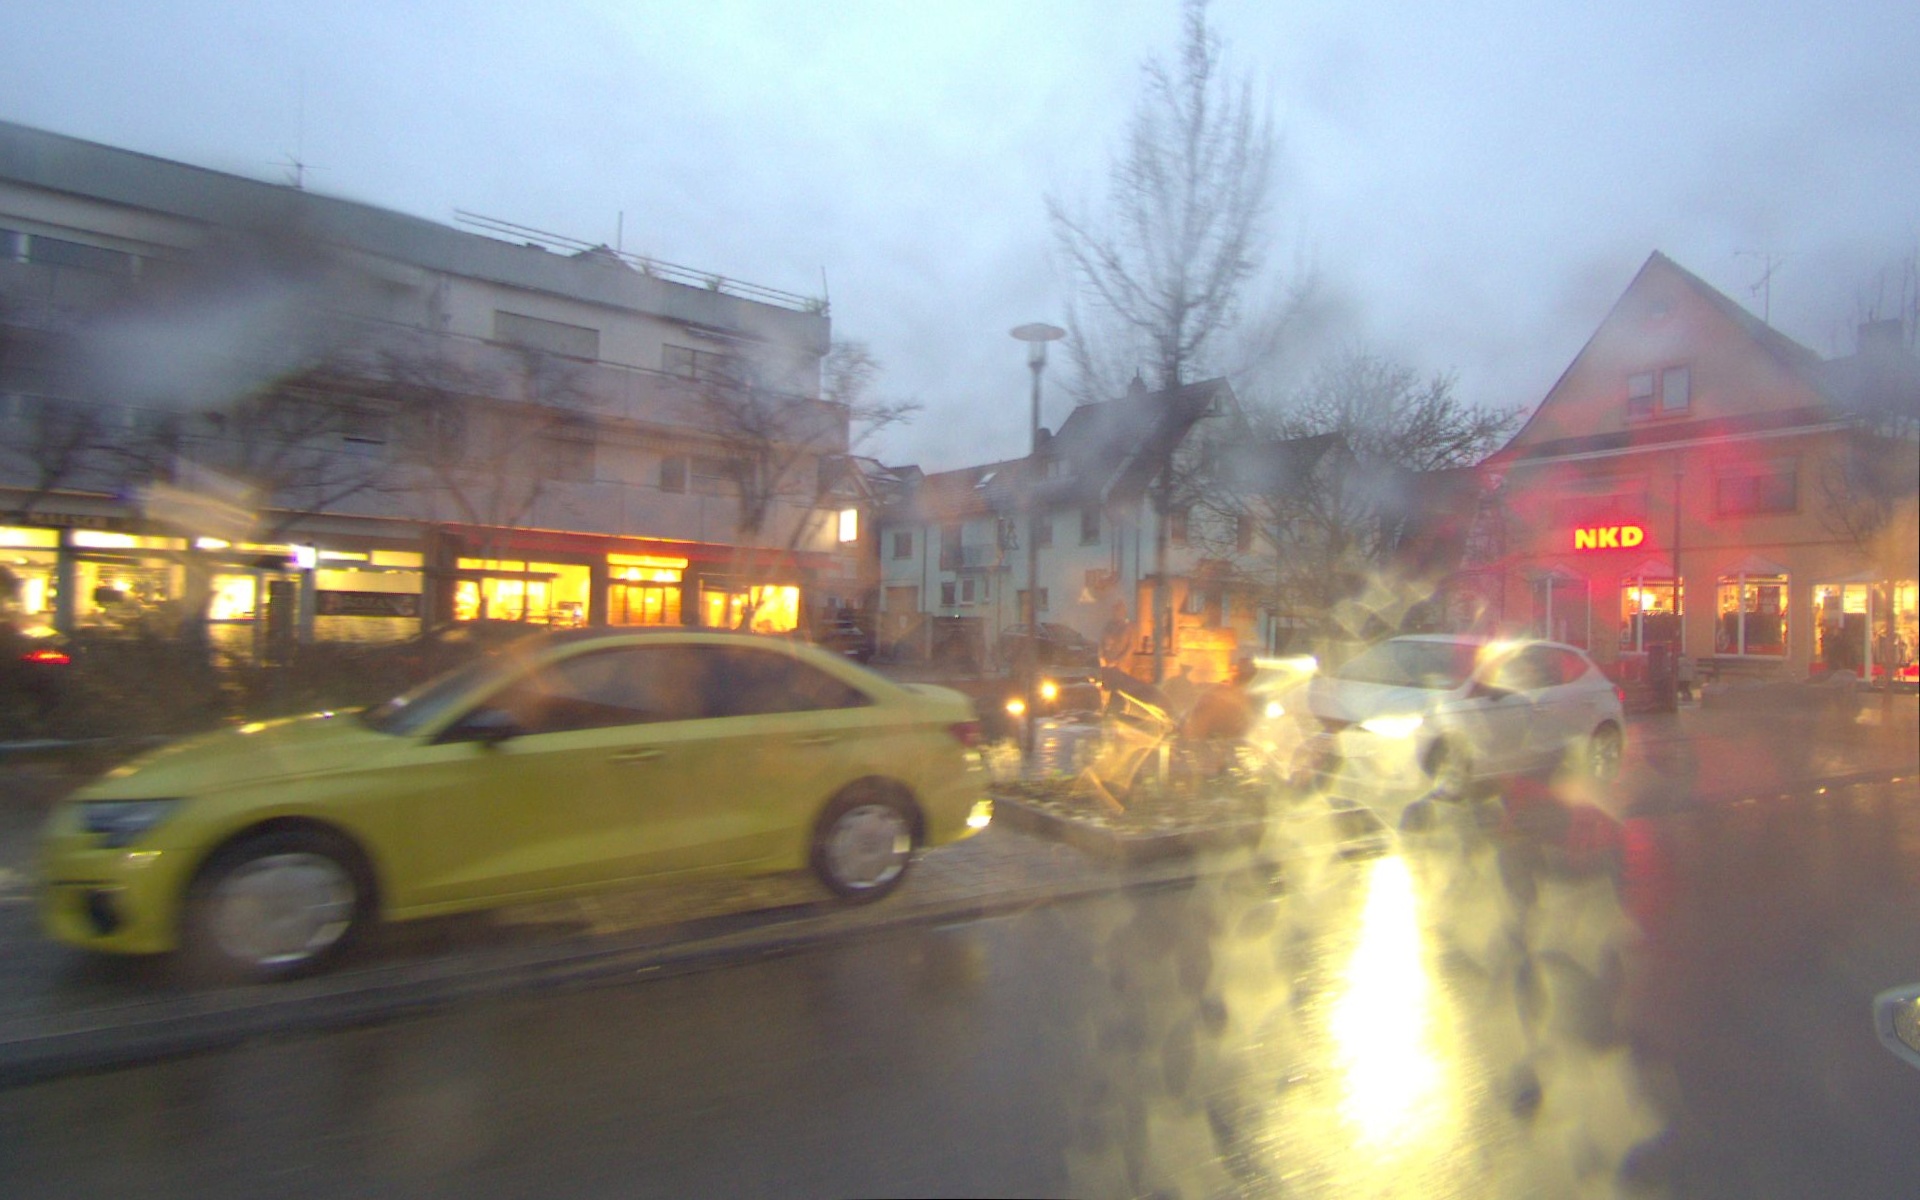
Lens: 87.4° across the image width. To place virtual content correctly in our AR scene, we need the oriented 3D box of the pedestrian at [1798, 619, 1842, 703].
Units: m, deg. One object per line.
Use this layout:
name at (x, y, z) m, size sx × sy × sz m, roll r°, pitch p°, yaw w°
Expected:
pedestrian at (18.651, 1.311, 21.791) m, size 0.678 × 1.765 × 0.583 m, roll 2°, pitch -1°, yaw -37°

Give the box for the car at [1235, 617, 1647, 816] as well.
car at (4.736, 1.007, 9.773) m, size 3.953 × 1.536 × 1.661 m, roll 2°, pitch 0°, yaw -30°

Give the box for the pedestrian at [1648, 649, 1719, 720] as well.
pedestrian at (16.199, 1.881, 22.497) m, size 0.766 × 1.437 × 0.887 m, roll 3°, pitch 5°, yaw -25°

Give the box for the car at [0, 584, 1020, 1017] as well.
car at (-1.964, 0.771, 5.396) m, size 4.290 × 1.536 × 1.741 m, roll 2°, pitch 0°, yaw -29°

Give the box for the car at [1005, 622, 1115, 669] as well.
car at (3.551, 1.603, 36.238) m, size 1.604 × 1.539 × 3.854 m, roll 2°, pitch -1°, yaw -43°

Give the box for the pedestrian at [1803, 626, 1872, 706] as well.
pedestrian at (20.326, 1.507, 23.271) m, size 0.952 × 1.766 × 0.967 m, roll 1°, pitch 1°, yaw -35°
